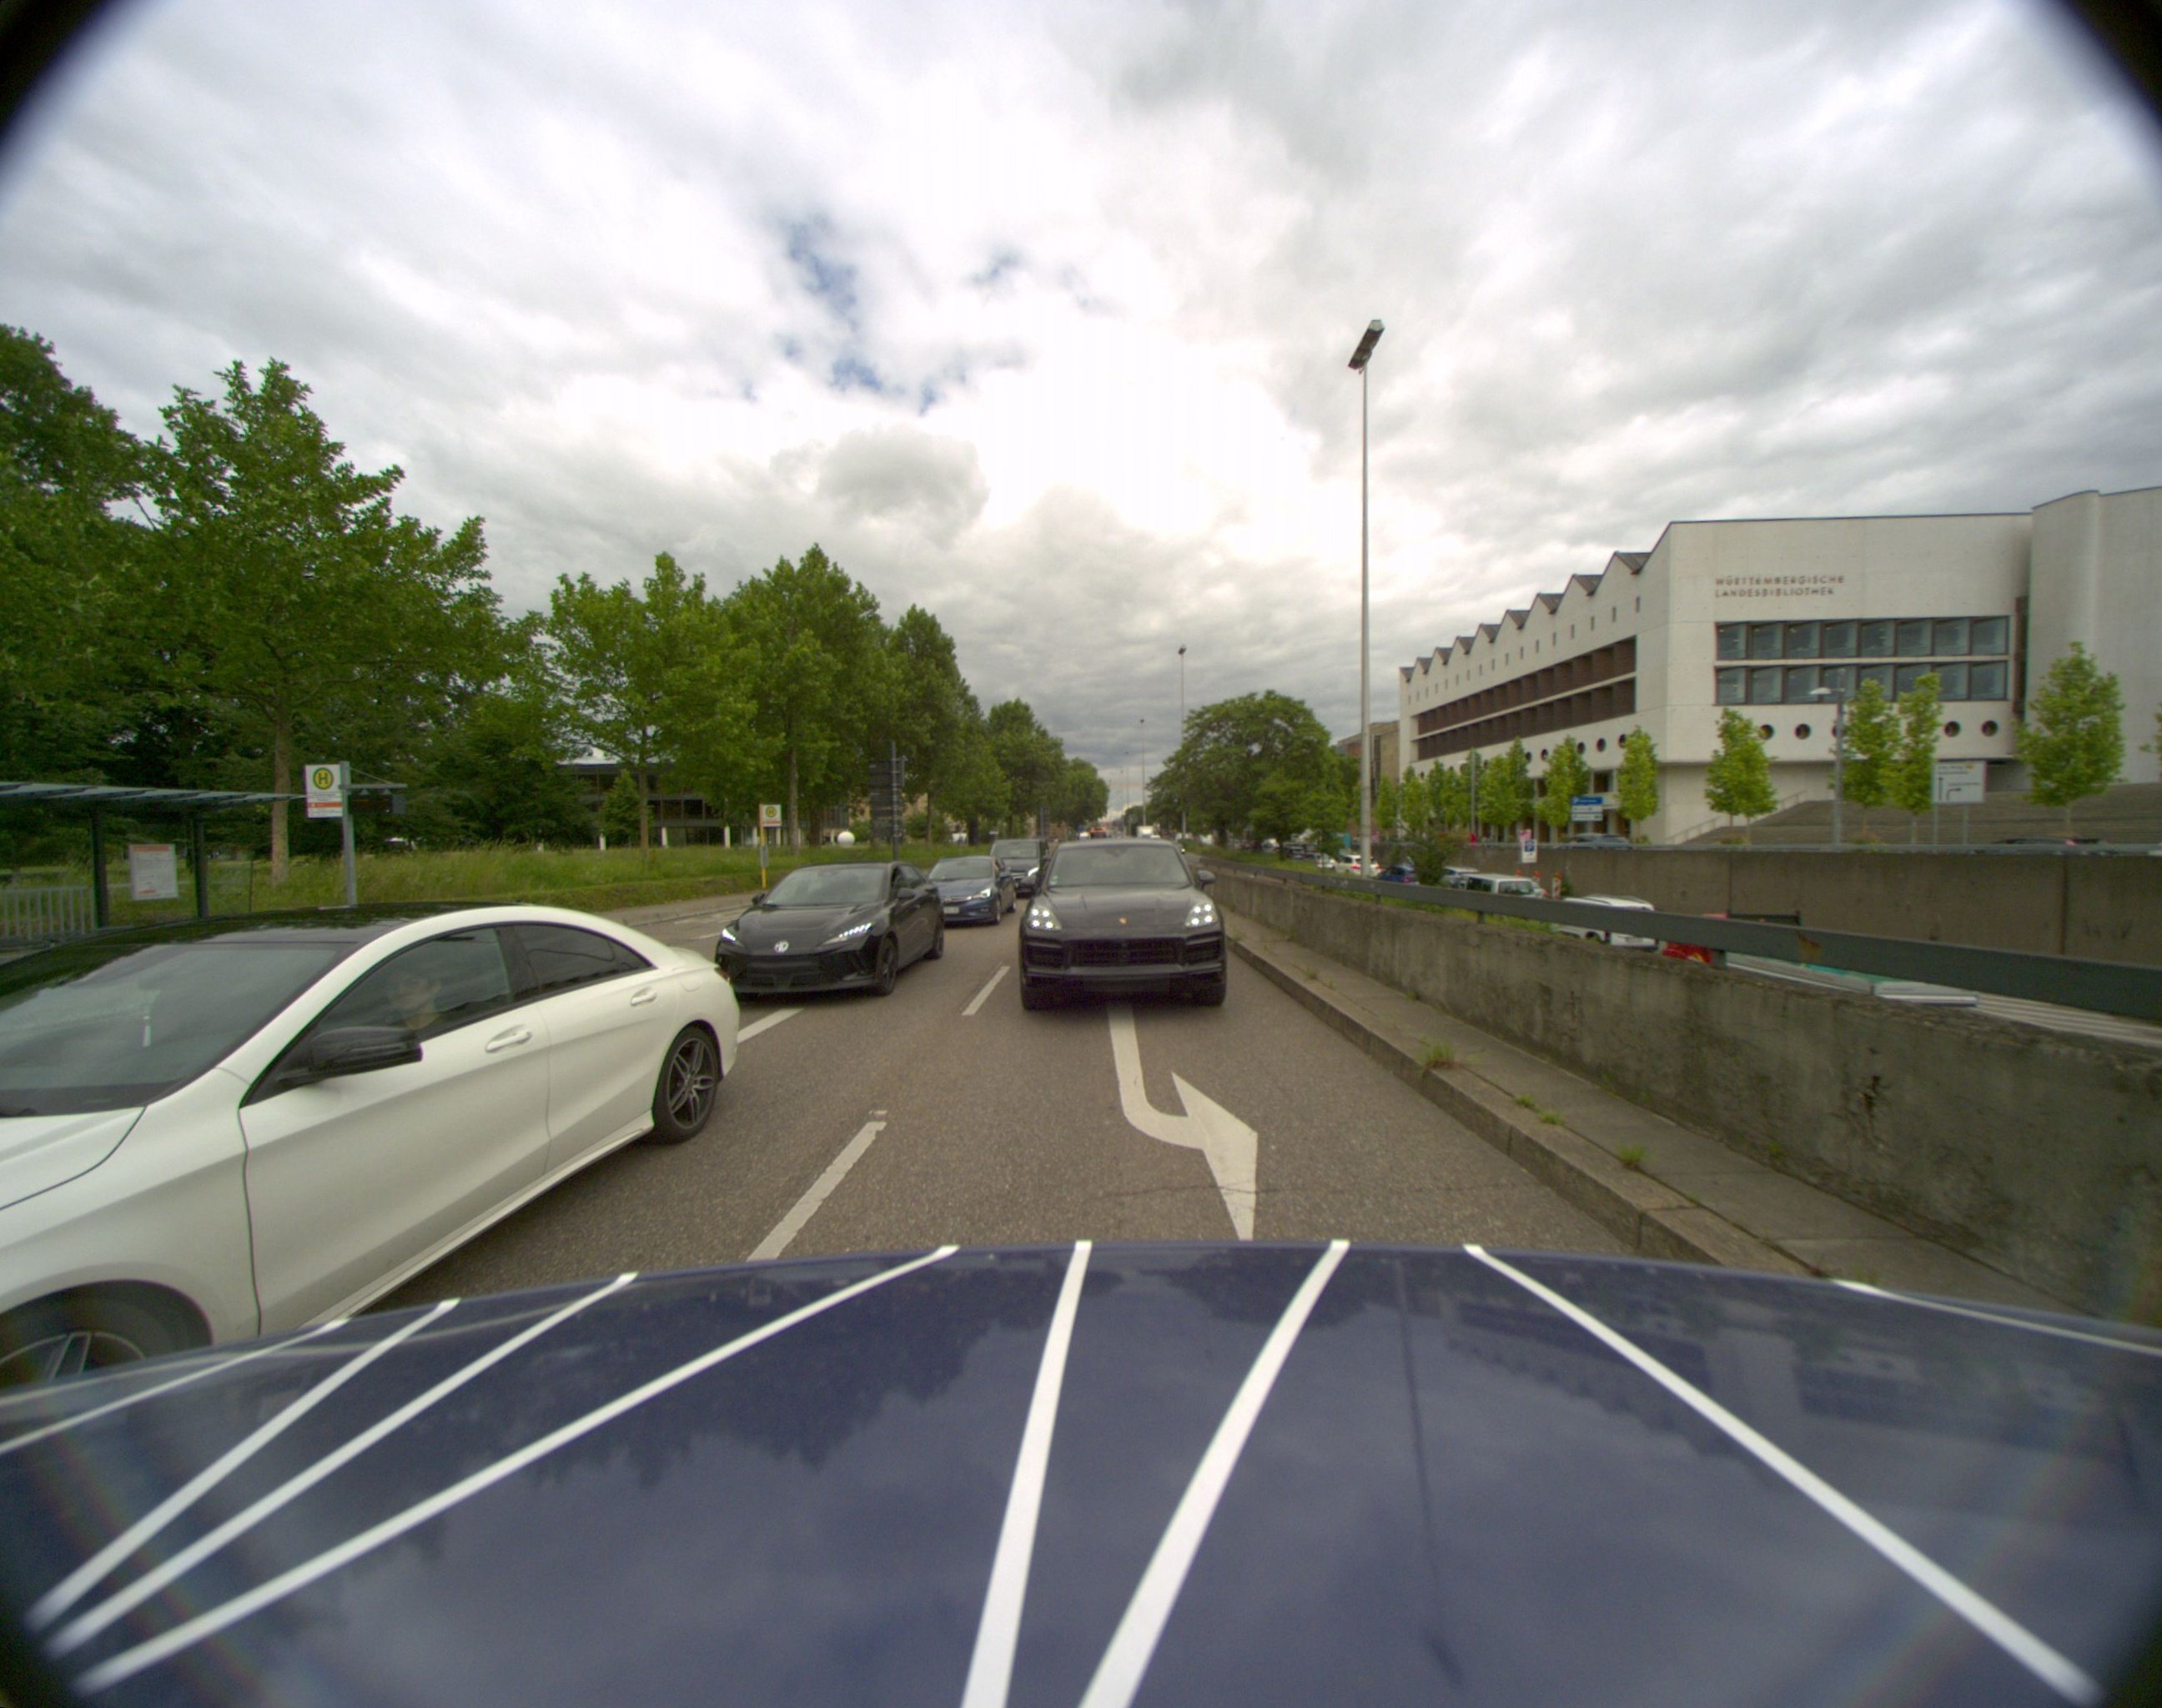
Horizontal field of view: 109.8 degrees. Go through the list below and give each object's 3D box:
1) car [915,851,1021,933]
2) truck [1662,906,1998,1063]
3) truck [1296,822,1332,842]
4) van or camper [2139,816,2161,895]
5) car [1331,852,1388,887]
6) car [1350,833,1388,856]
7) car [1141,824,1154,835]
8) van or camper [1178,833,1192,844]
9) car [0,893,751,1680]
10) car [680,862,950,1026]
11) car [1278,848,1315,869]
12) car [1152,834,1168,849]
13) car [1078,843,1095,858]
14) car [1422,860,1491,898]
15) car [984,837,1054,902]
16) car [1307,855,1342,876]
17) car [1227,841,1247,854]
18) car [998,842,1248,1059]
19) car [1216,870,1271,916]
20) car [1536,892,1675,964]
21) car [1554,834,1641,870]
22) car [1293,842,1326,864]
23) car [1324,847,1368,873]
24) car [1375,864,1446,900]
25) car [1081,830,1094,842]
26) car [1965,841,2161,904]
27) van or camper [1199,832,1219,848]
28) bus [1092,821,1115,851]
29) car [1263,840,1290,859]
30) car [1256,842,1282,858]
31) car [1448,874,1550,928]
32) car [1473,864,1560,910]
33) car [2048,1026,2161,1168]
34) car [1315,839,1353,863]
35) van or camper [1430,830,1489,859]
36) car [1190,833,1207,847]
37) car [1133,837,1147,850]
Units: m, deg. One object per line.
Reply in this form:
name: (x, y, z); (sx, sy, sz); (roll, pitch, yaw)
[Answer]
car: (-2.370, 0.737, 16.878); (1.573, 1.528, 4.001); (-2, 1, 2)
truck: (17.460, 2.853, 18.391); (2.324, 2.675, 5.979); (-2, 0, 2)
truck: (26.539, -2.481, 86.797); (2.002, 2.145, 5.616); (-2, 0, -5)
van or camper: (28.076, 0.012, 17.172); (1.998, 2.002, 4.557); (-2, 0, 1)
car: (18.165, 0.973, 49.850); (1.998, 2.119, 4.852); (2, 0, 1)
car: (27.400, -0.907, 72.404); (1.999, 2.002, 3.999); (-2, 1, 0)
car: (12.446, -4.506, 141.108); (1.997, 2.002, 4.002); (-2, 1, 10)
van or camper: (18.666, -2.769, 136.652); (2.036, 2.002, 4.000); (-2, 0, 1)
car: (-3.111, 1.025, 2.752); (1.723, 1.415, 4.505); (-2, 1, 1)
car: (-2.993, 0.913, 9.597); (1.829, 1.515, 4.120); (-2, 0, 1)
car: (18.273, 0.360, 64.614); (1.998, 1.650, 4.000); (-2, 0, 1)
car: (11.283, -1.812, 109.148); (1.998, 2.002, 3.999); (0, 2, 1)
car: (0.517, -0.330, 74.601); (1.565, 1.409, 3.619); (-2, 0, 1)
car: (21.397, 1.380, 43.486); (1.998, 2.002, 4.000); (2, 0, 1)
car: (-1.906, 0.424, 24.490); (1.723, 1.851, 4.430); (-2, 1, 1)
car: (18.169, 0.810, 56.813); (1.674, 1.477, 3.361); (0, 1, 1)
car: (18.231, -0.746, 88.911); (1.674, 1.477, 3.361); (-2, 0, 1)
car: (0.381, 0.763, 8.393); (1.937, 1.668, 4.679); (-2, 0, 1)
car: (8.267, 1.945, 38.997); (1.998, 2.002, 4.000); (-2, 1, 1)
car: (17.815, 2.441, 26.064); (1.998, 2.002, 4.000); (2, 0, 1)
car: (27.667, -0.087, 40.892); (1.998, 1.805, 4.000); (-2, 0, 1)
car: (22.115, -0.090, 73.707); (1.998, 2.002, 4.000); (2, 0, 1)
car: (21.640, 0.447, 62.174); (1.998, 2.002, 4.655); (-2, 0, 1)
car: (17.963, 1.483, 41.652); (1.998, 1.733, 4.281); (2, 0, 1)
car: (1.200, -3.267, 140.364); (1.999, 2.002, 3.998); (-3, 1, -4)
car: (31.623, 0.554, 24.338); (1.998, 1.805, 4.000); (-2, 0, 1)
van or camper: (17.802, -1.920, 105.814); (2.036, 2.002, 4.000); (-2, 0, 1)
bus: (3.390, -2.715, 116.394); (3.043, 4.328, 8.748); (-2, 1, 0)
car: (21.874, -0.523, 85.069); (1.998, 2.002, 4.000); (2, 0, 1)
car: (18.362, -0.429, 74.315); (1.674, 1.477, 3.361); (-2, 0, 1)
car: (17.911, 1.950, 32.813); (1.998, 2.002, 4.332); (2, 0, 1)
car: (21.309, 1.555, 37.403); (1.998, 2.002, 4.000); (2, 0, 1)
car: (17.354, 3.861, 10.969); (1.794, 1.805, 3.927); (-2, 0, 0)
car: (21.895, -0.284, 65.992); (1.998, 2.002, 4.000); (2, 0, 1)
van or camper: (27.916, -0.639, 56.258); (1.999, 2.002, 4.556); (-2, 0, -1)
car: (18.620, -2.152, 120.481); (1.998, 2.002, 4.000); (-5, 0, 1)
car: (9.572, -1.649, 123.962); (1.998, 2.002, 4.000); (-1, 0, 1)
